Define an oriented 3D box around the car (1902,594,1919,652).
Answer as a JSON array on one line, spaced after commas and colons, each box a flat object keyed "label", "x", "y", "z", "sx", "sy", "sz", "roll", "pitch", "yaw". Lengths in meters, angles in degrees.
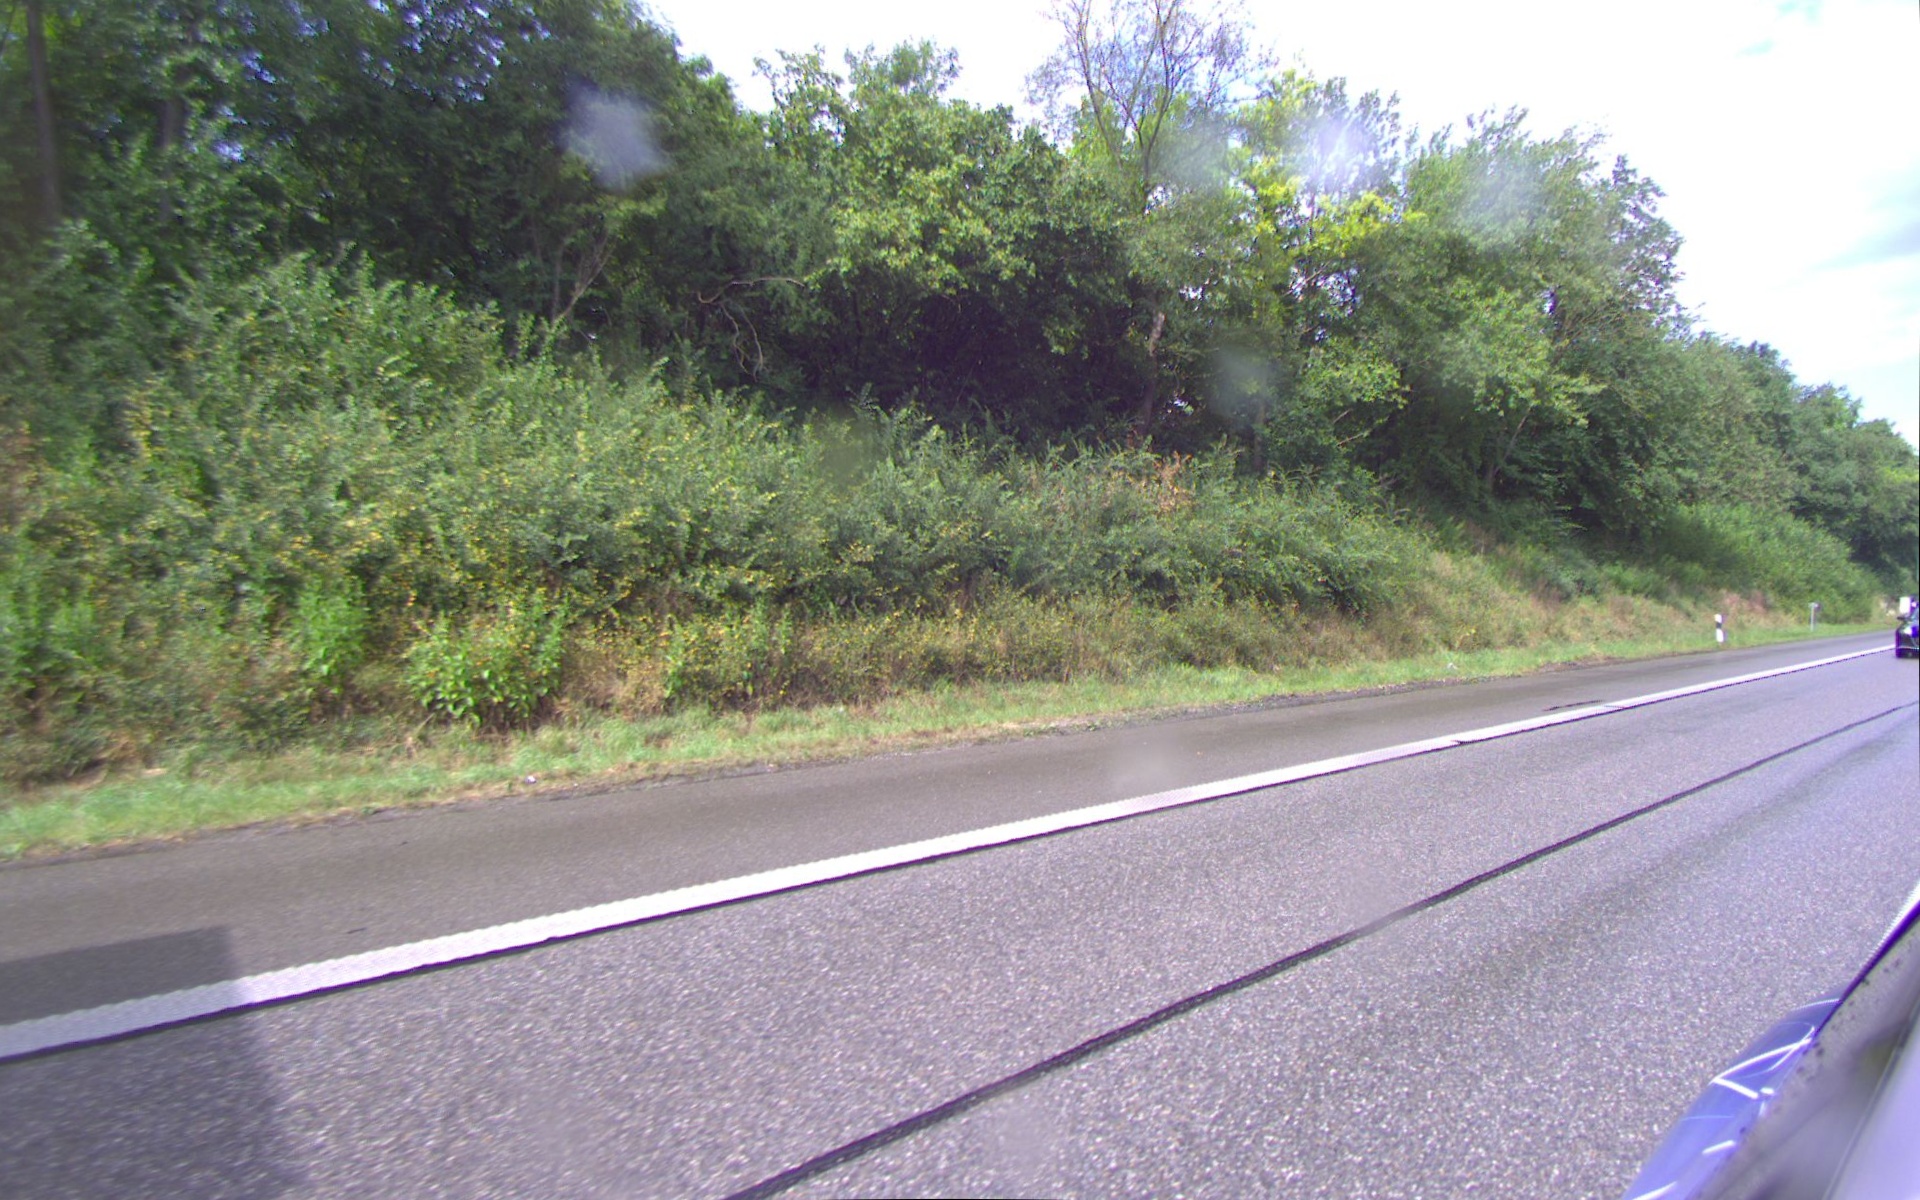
[{"label": "car", "x": 26.096, "y": 0.566, "z": 26.291, "sx": 4.753, "sy": 1.436, "sz": 1.798, "roll": -1, "pitch": 0, "yaw": -40}]
